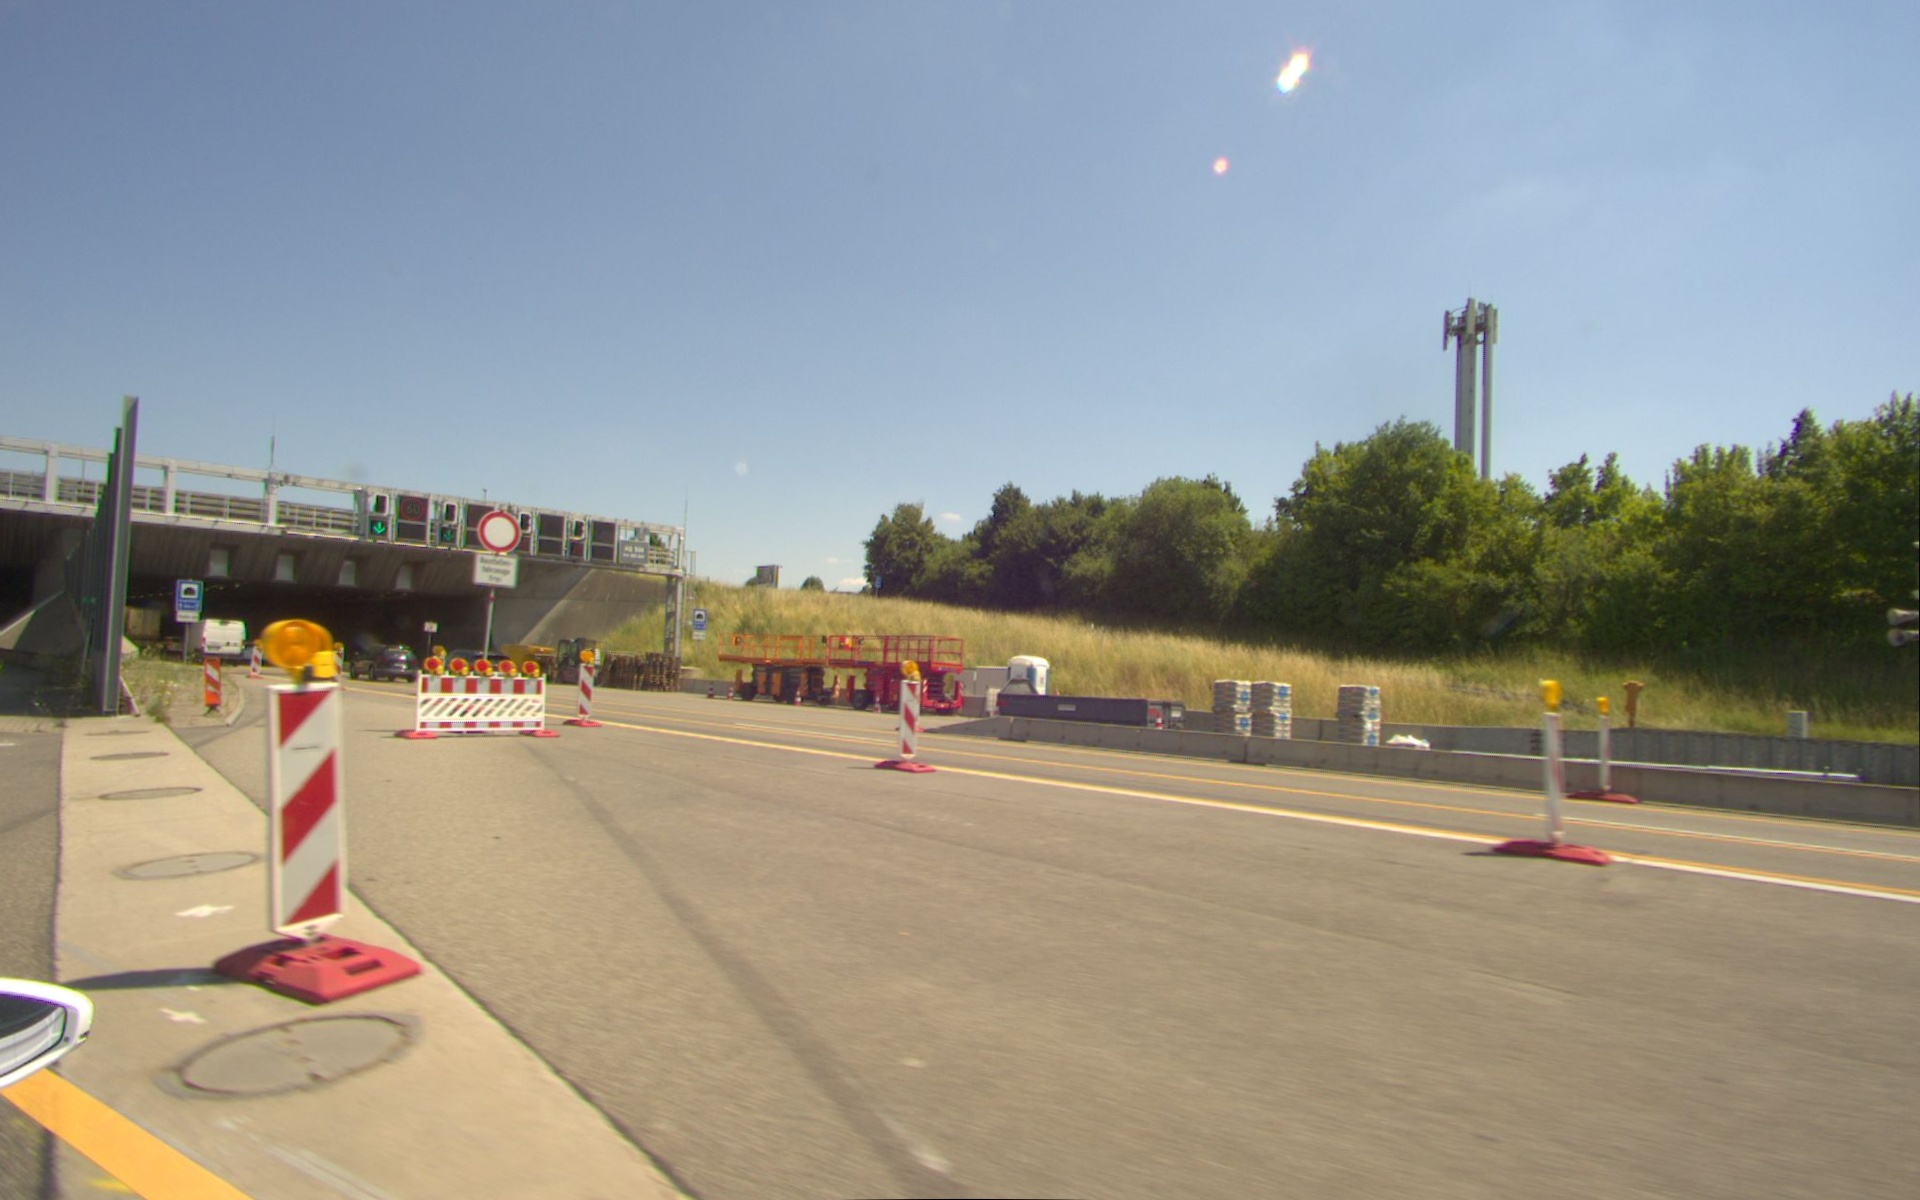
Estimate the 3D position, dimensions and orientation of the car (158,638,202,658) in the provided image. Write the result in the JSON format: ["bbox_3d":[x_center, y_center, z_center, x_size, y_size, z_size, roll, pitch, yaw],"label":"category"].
[{"bbox_3d":[-64.406,3.960,82.669,4.597,1.481,1.810,-2,-6,40],"label":"car"}]

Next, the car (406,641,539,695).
[{"bbox_3d":[-15.596,2.146,31.956,4.620,1.503,1.988,-1,-6,39],"label":"car"}]

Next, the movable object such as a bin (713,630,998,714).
[{"bbox_3d":[-4.972,2.886,42.593,14.538,3.048,3.097,-2,-4,42],"label":"movable object such as a bin"}]

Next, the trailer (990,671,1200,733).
[{"bbox_3d":[4.187,3.146,31.761,6.158,1.588,2.587,-1,-3,38],"label":"trailer"}]

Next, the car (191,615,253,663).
[{"bbox_3d":[-43.414,2.333,58.830,2.251,2.566,6.529,6,-6,-41],"label":"car"}]

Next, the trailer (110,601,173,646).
[{"bbox_3d":[-83.658,2.513,102.219,13.941,4.109,2.722,-2,-6,42],"label":"trailer"}]

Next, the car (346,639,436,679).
[{"bbox_3d":[-26.400,2.724,46.371,5.179,1.682,2.011,-2,-6,42],"label":"car"}]
